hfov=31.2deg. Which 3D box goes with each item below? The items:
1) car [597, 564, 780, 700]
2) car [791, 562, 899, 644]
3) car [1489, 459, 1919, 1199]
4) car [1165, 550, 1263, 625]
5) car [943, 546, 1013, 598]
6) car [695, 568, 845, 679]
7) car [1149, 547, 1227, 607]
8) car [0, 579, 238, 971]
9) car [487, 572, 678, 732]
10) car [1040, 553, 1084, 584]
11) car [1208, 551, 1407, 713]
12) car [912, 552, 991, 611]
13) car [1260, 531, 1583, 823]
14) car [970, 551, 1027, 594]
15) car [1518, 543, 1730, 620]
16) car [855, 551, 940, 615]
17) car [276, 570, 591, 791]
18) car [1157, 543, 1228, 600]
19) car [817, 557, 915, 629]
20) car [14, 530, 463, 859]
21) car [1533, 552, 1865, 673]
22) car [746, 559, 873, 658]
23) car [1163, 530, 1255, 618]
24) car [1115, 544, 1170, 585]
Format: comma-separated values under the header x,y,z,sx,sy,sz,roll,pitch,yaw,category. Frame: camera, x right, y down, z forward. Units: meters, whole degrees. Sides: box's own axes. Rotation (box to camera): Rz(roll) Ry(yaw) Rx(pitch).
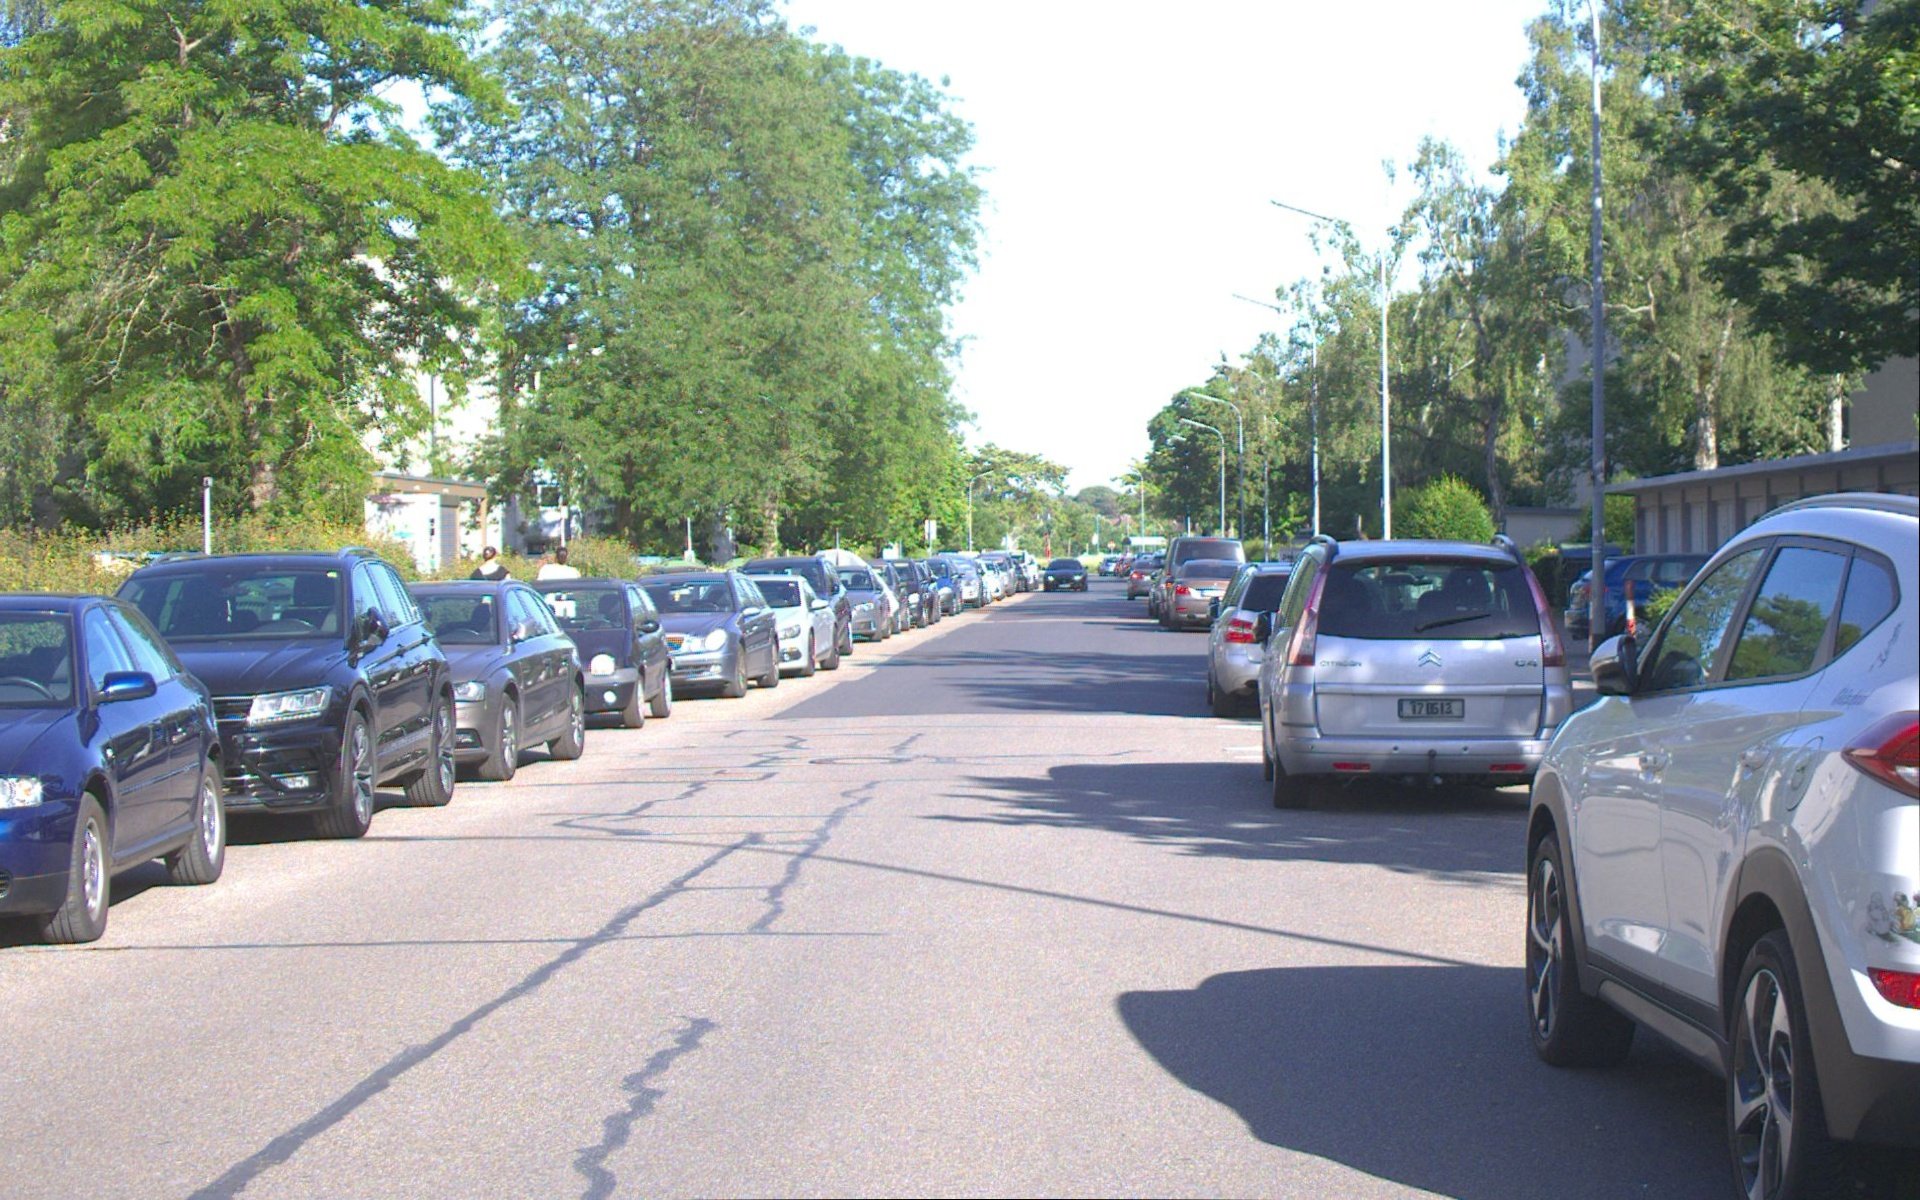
x,y,z,sx,sy,sz,roll,pitch,yaw,category
-3.153,0.345,40.485,1.510,1.446,3.690,-2,1,5,car
-2.075,0.033,62.807,1.510,1.377,3.466,-2,1,5,car
2.498,0.559,8.646,1.653,1.693,4.234,1,1,0,car
5.127,-0.267,69.805,1.824,1.461,4.233,0,1,2,car
0.581,-0.868,105.062,1.824,1.461,4.233,1,2,4,car
-2.551,0.292,46.763,1.510,1.359,3.466,-2,1,5,car
5.753,-0.567,87.169,1.824,1.461,4.233,1,0,2,car
-4.297,0.666,14.804,1.660,1.421,4.050,-2,1,-3,car
-3.642,0.474,33.531,1.389,1.408,3.125,-2,1,2,car
4.578,-1.425,154.040,1.944,1.285,4.234,1,2,2,car
3.462,0.268,34.307,1.824,1.461,4.233,-1,1,6,car
-0.208,-0.524,94.729,1.824,1.461,4.233,1,2,4,car
2.857,0.414,21.874,1.824,1.651,4.233,1,1,6,car
1.455,-1.032,127.696,1.824,1.461,4.233,1,2,4,car
14.116,-0.389,73.213,4.220,1.525,1.830,1,-2,4,car
-1.382,-0.393,77.348,1.510,1.324,3.466,-2,1,5,car
-3.834,0.541,25.592,1.660,1.434,3.760,-2,1,1,car
6.463,-0.808,96.045,1.824,1.461,4.234,1,2,2,car
-1.855,-0.163,68.673,1.510,1.324,3.466,-2,1,5,car
-4.111,0.469,20.204,1.660,1.682,4.049,-2,1,1,car
10.112,0.153,47.289,4.220,1.588,1.830,1,1,4,car
-2.356,0.112,54.483,1.510,1.429,3.466,-2,1,5,car
5.437,-0.588,75.482,1.824,1.796,4.234,1,2,2,car
6.413,-1.248,120.781,1.824,1.320,4.233,1,2,4,car
